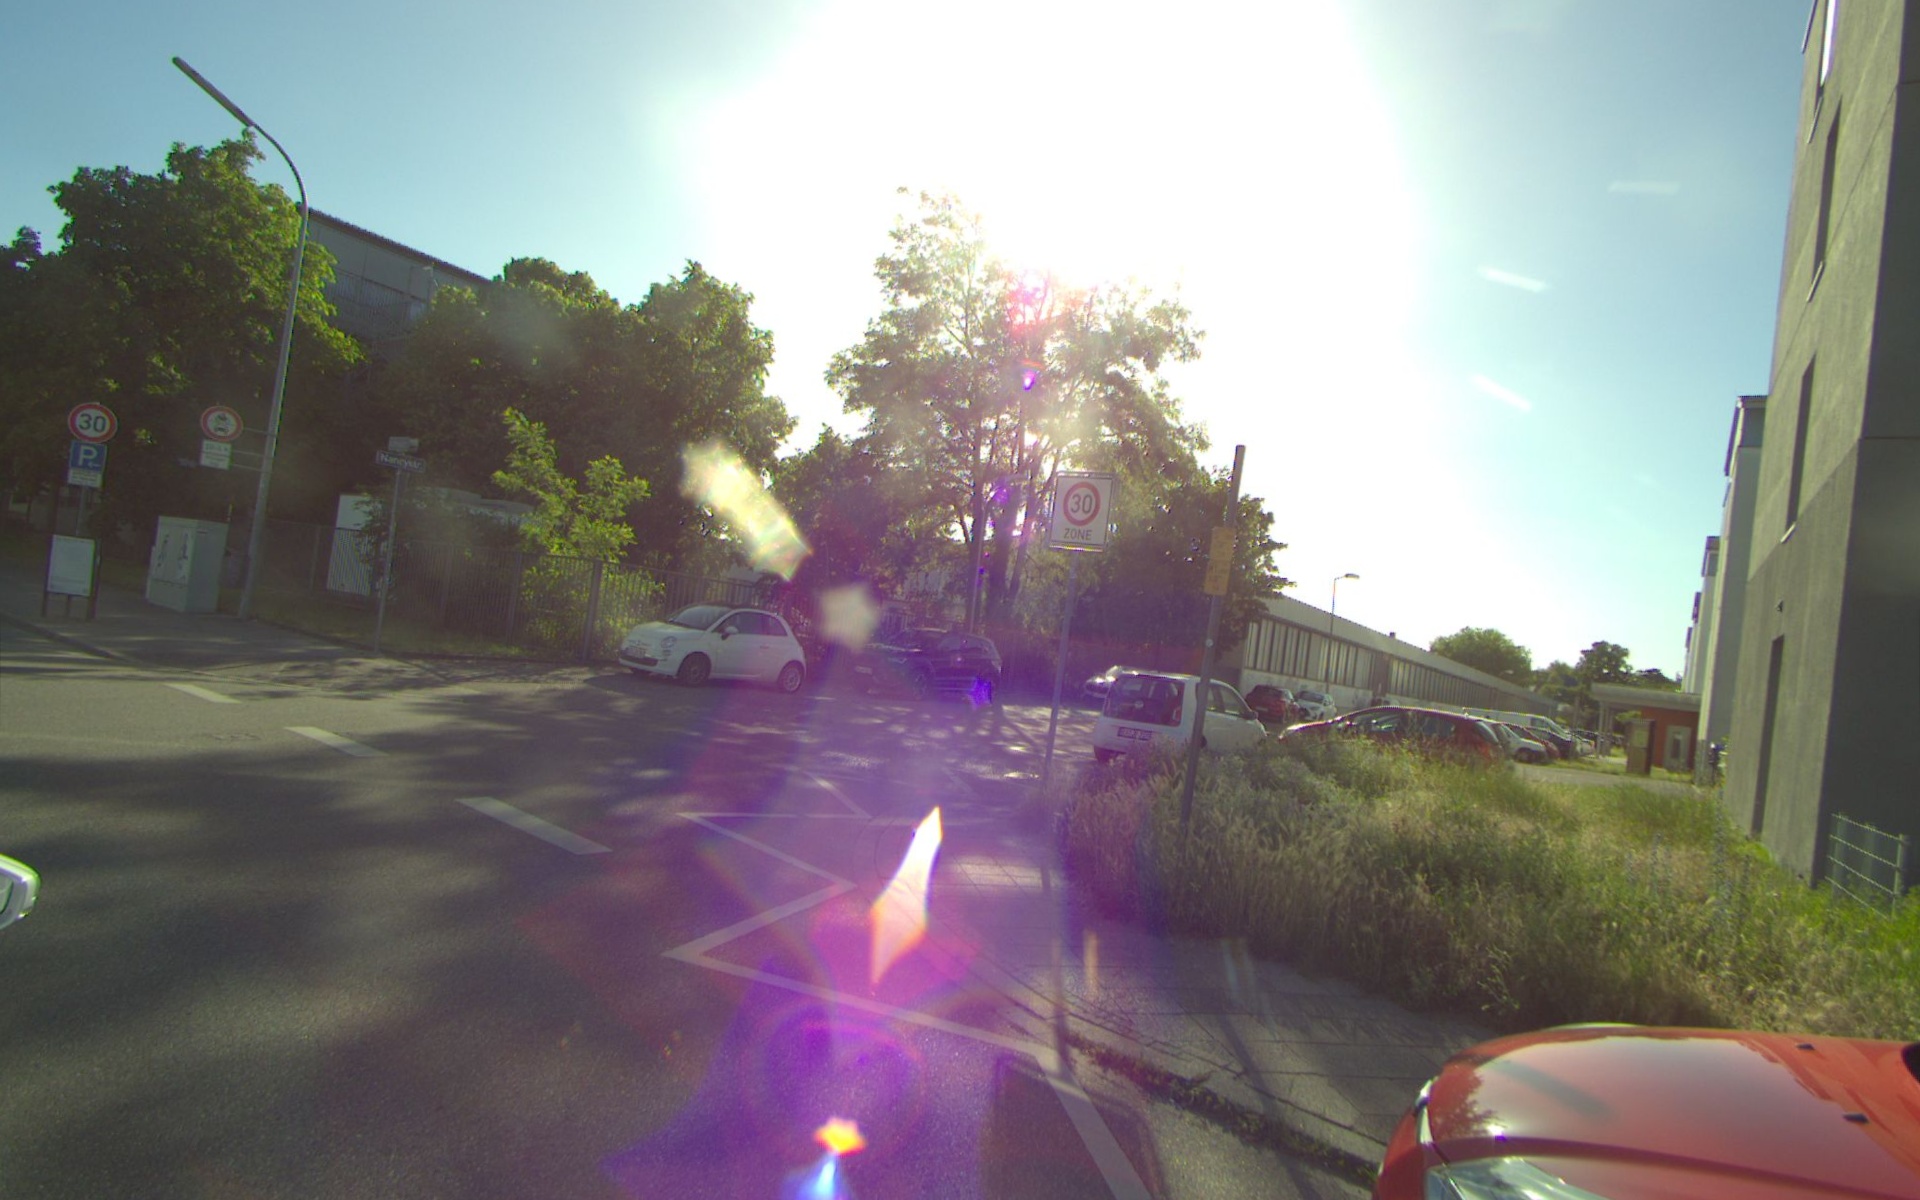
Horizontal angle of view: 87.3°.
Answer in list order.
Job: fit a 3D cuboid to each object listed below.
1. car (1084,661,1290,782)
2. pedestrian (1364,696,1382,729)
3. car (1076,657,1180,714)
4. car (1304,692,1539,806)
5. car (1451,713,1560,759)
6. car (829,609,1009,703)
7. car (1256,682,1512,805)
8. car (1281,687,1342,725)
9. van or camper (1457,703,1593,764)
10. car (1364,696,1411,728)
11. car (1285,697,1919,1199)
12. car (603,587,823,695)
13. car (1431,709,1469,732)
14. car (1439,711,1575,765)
[{"bbox_3d":[3.614,1.890,15.664,1.690,1.475,3.326,6,-3,39],"label":"car"},{"bbox_3d":[22.228,6.033,54.163,0.658,1.680,0.485,7,-1,35],"label":"pedestrian"},{"bbox_3d":[5.417,2.758,32.112,1.684,1.453,3.994,6,-3,33],"label":"car"},{"bbox_3d":[9.262,2.916,20.299,3.937,1.538,1.694,6,-1,35],"label":"car"},{"bbox_3d":[24.290,6.025,44.830,4.023,1.365,1.759,6,-2,35],"label":"car"},{"bbox_3d":[-0.824,1.323,22.732,1.728,1.655,4.157,6,-2,35],"label":"car"},{"bbox_3d":[7.697,2.544,18.406,3.937,1.487,1.694,6,-1,35],"label":"car"},{"bbox_3d":[16.703,5.048,47.709,1.684,1.453,3.994,6,-3,33],"label":"car"},{"bbox_3d":[26.596,6.251,47.459,5.216,1.980,1.995,6,-2,38],"label":"van or camper"},{"bbox_3d":[26.313,6.903,61.839,1.685,1.688,3.991,6,-3,36],"label":"car"},{"bbox_3d":[2.824,1.218,1.149,4.381,1.516,1.822,6,-3,34],"label":"car"},{"bbox_3d":[-4.353,0.794,18.163,1.575,1.503,3.550,6,-2,35],"label":"car"},{"bbox_3d":[38.183,9.410,78.369,1.957,1.453,3.991,6,-3,36],"label":"car"},{"bbox_3d":[21.944,5.517,40.396,4.529,1.365,1.996,6,-2,35],"label":"car"}]
